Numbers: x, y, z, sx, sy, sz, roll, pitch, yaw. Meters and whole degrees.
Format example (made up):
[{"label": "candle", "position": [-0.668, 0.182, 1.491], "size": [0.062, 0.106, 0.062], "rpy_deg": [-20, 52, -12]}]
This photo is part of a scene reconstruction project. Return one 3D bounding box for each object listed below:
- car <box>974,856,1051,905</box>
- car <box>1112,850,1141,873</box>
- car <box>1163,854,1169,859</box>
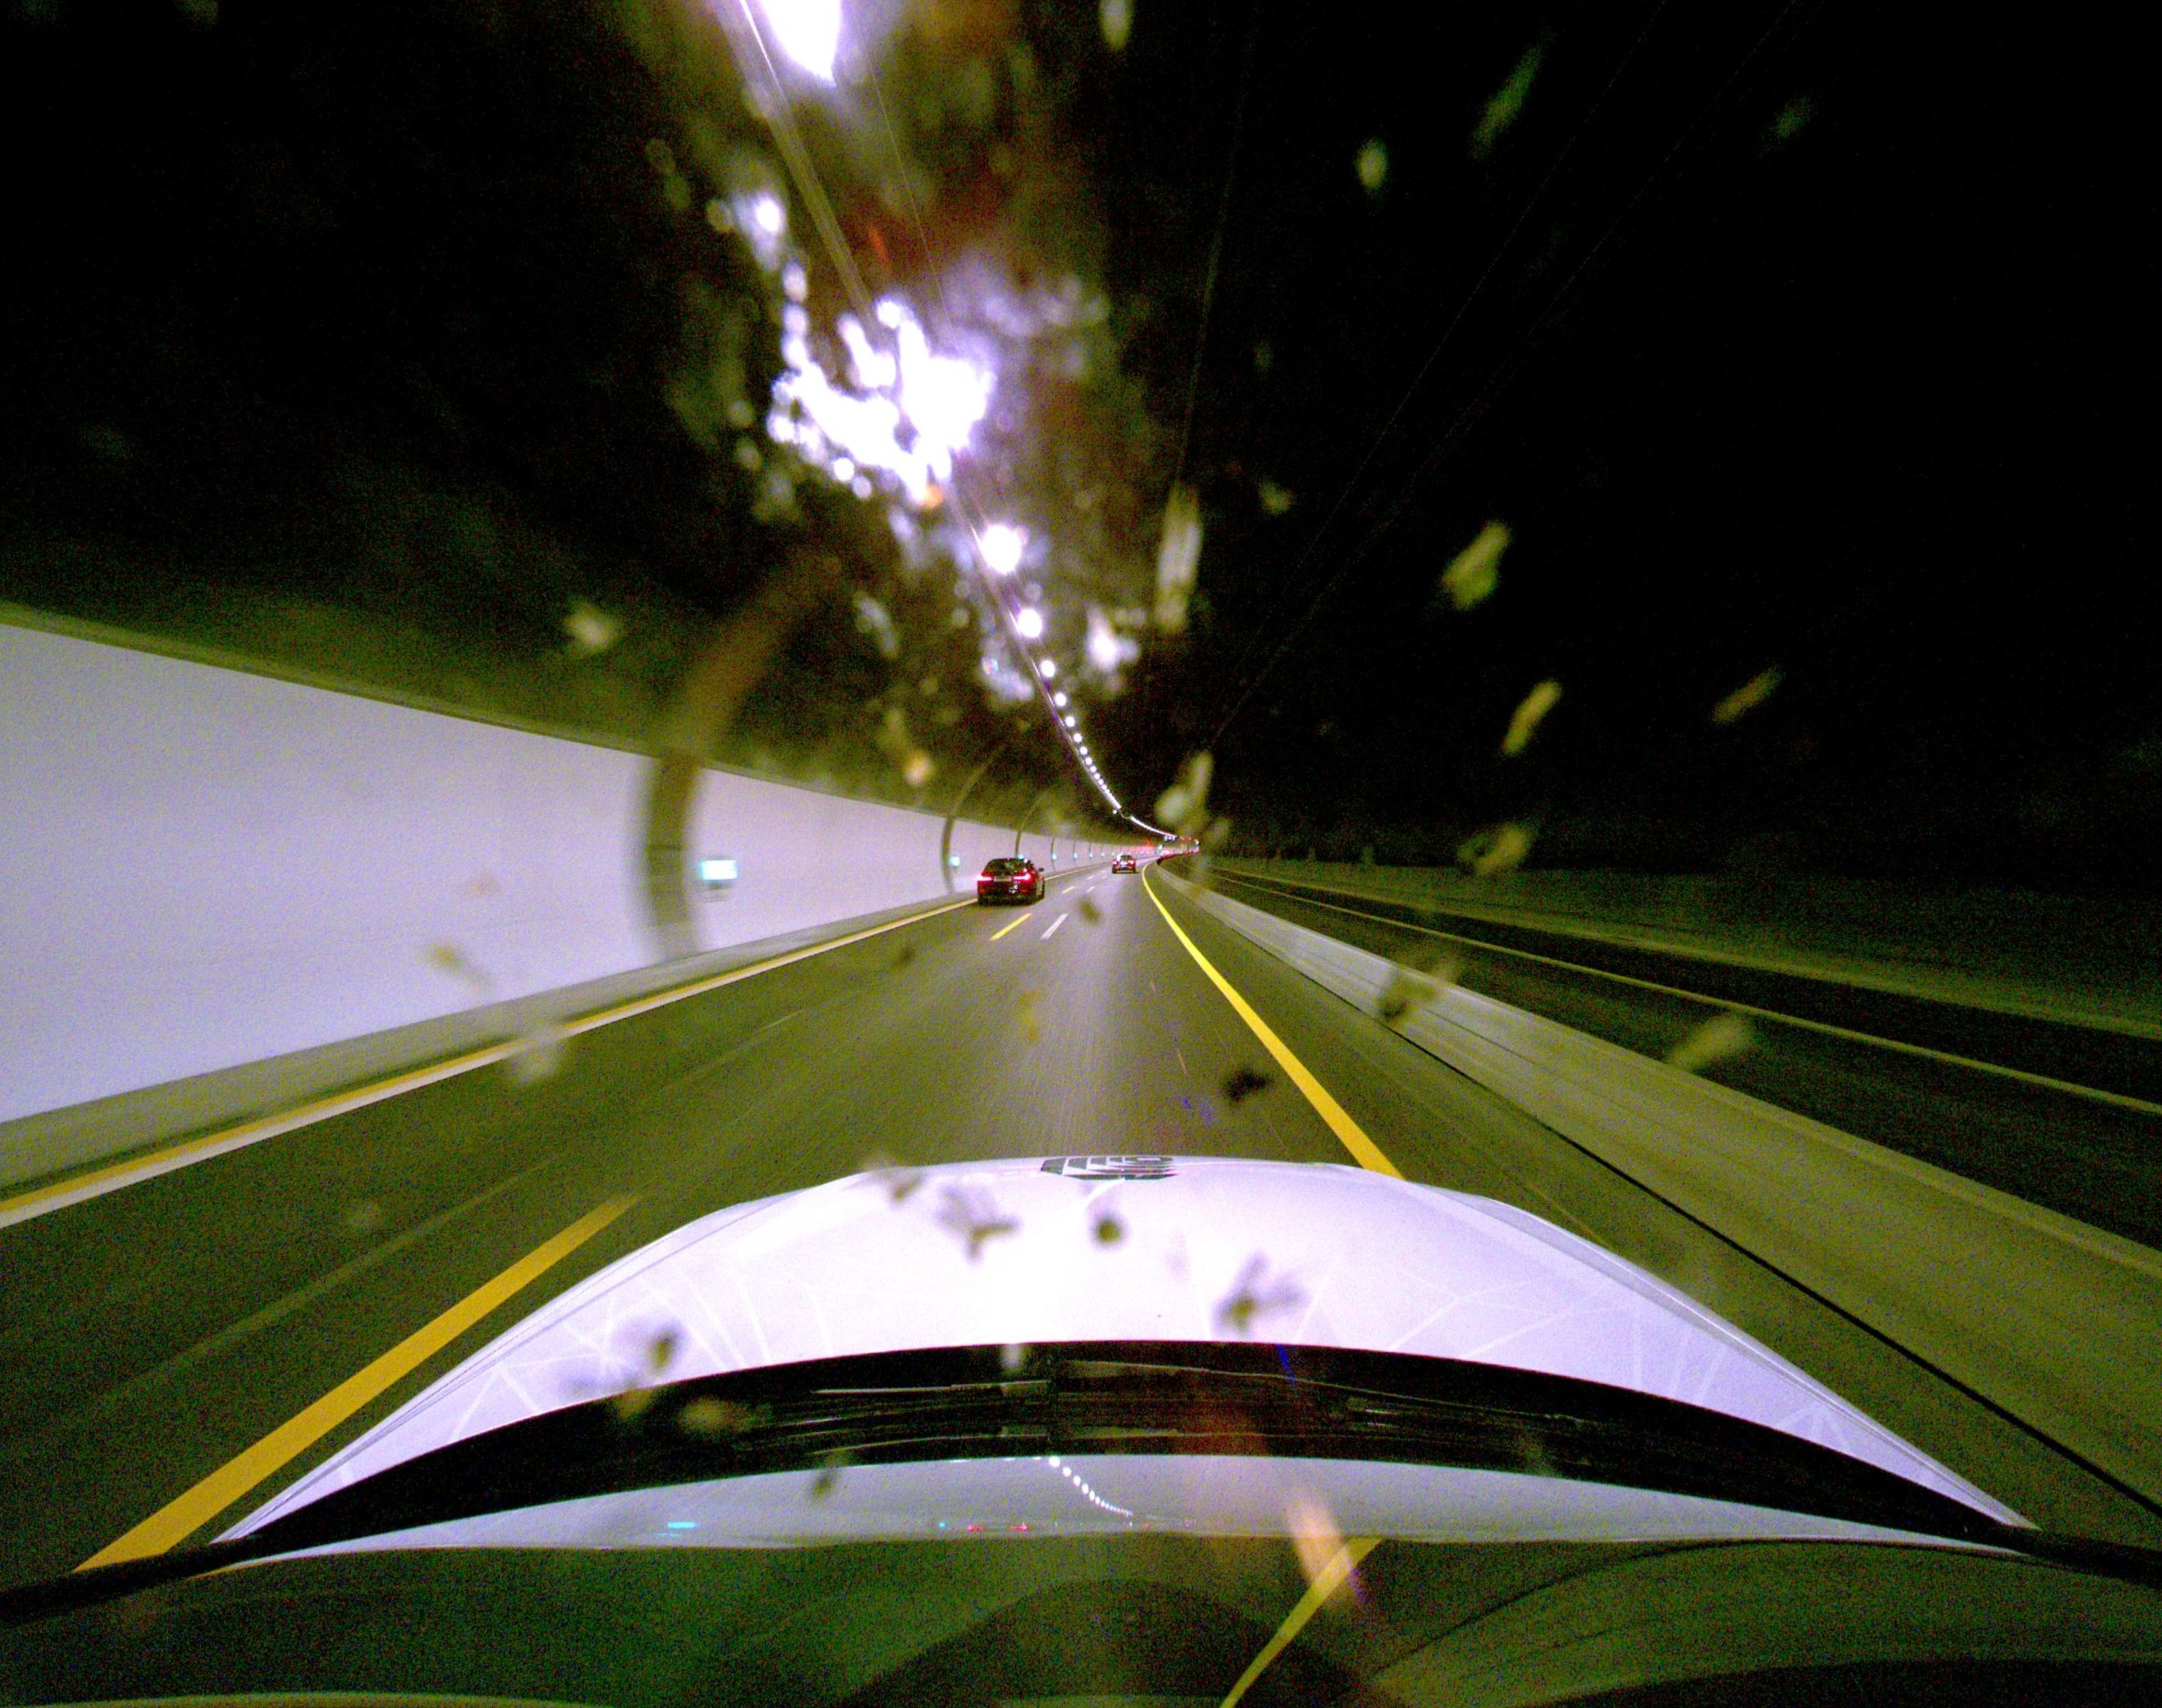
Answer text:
[{"label": "car", "position": [-2.155, 0.820, 27.039], "size": [1.770, 1.438, 4.888], "rpy_deg": [-1, 0, 4]}, {"label": "car", "position": [3.662, 0.573, 64.670], "size": [2.131, 1.706, 4.005], "rpy_deg": [-1, 0, 5]}, {"label": "car", "position": [23.296, 0.625, 223.214], "size": [1.586, 1.333, 3.759], "rpy_deg": [-1, 0, 8]}]
